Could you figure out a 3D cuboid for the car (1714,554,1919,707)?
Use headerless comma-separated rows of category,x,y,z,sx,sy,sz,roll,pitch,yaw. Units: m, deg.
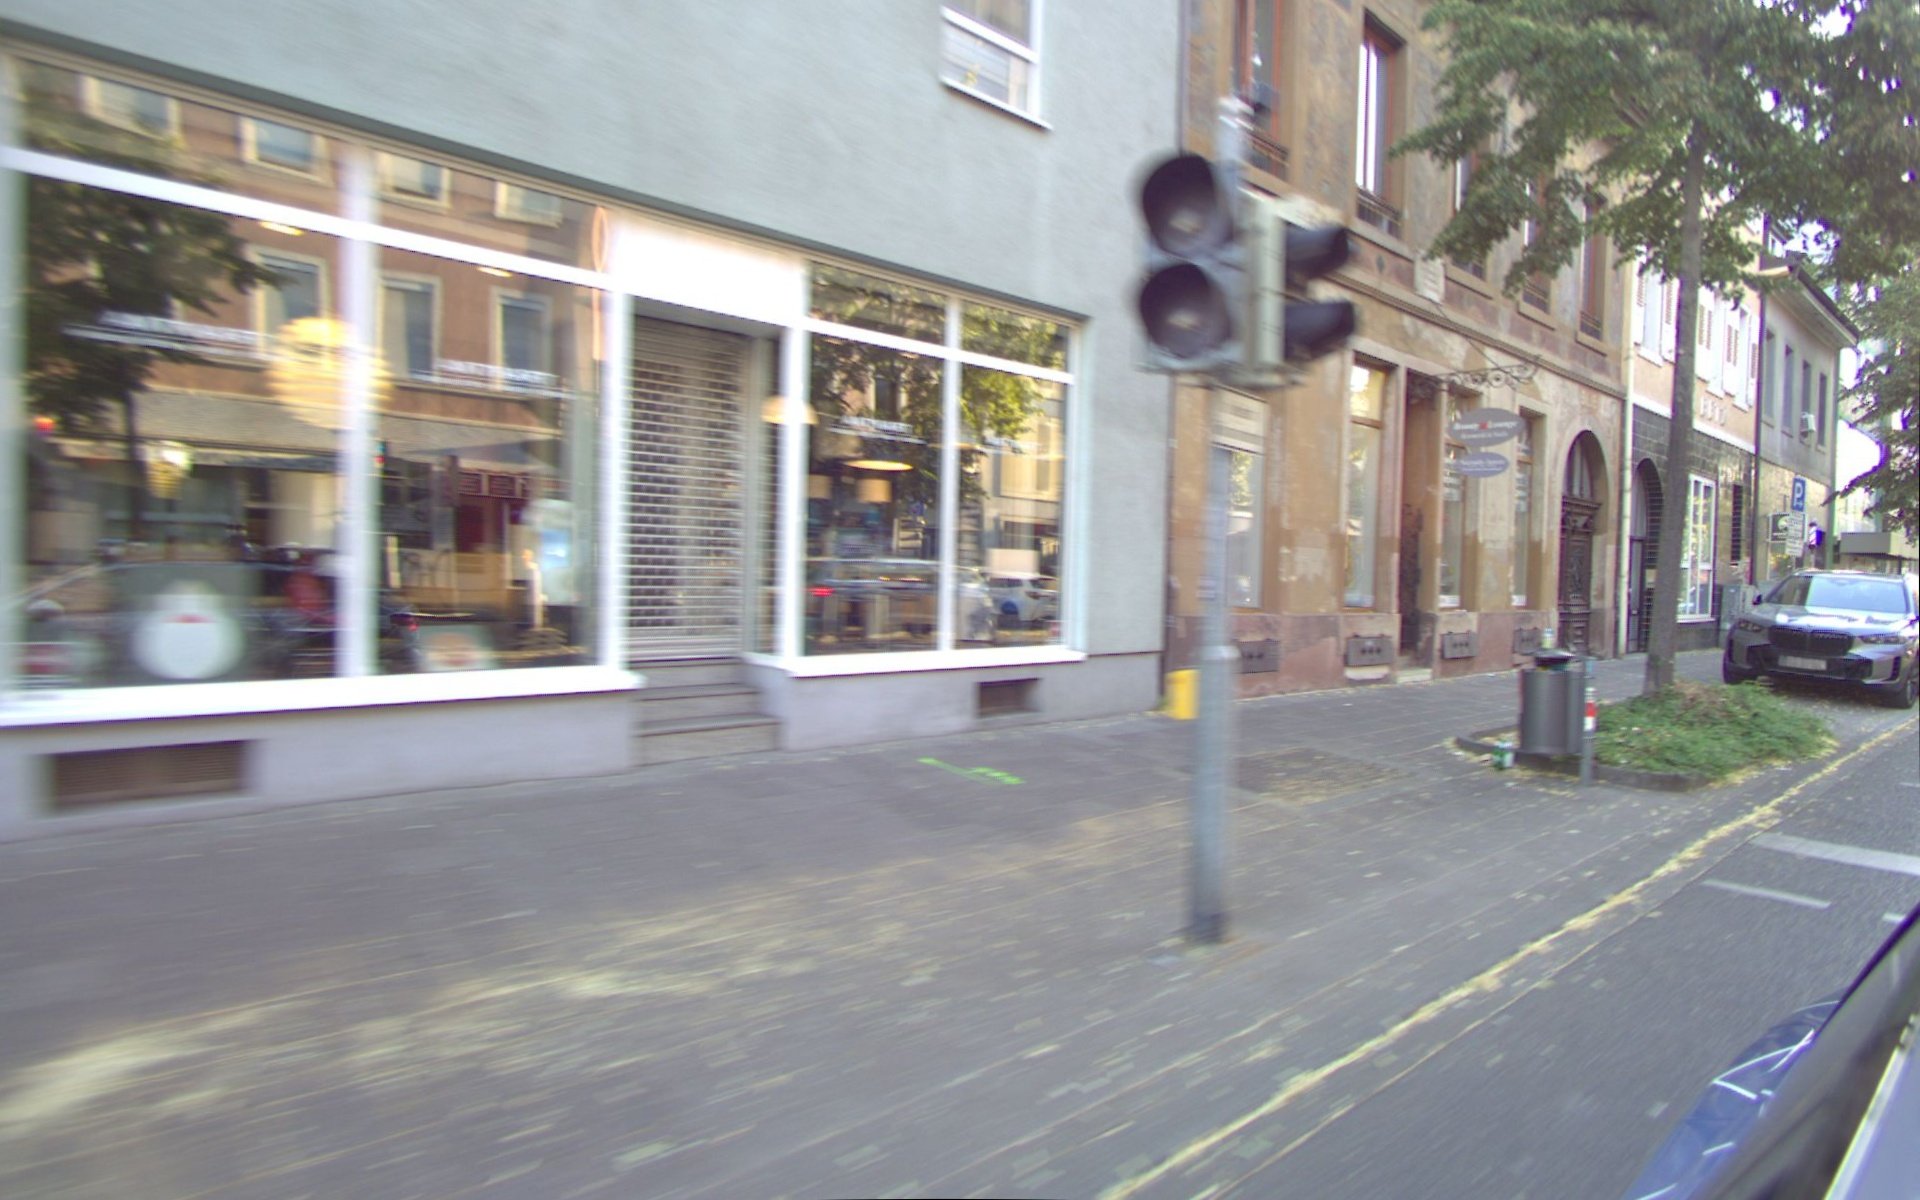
car,12.711,0.338,14.415,4.627,1.758,2.044,0,4,-40

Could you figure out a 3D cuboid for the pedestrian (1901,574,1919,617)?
pedestrian,38.903,-0.183,41.321,0.657,1.760,0.607,0,1,-41

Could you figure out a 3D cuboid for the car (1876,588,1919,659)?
car,21.459,0.519,21.939,4.350,1.407,1.955,0,4,-43

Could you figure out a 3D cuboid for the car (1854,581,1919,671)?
car,17.998,0.478,18.743,3.835,1.505,1.732,0,4,-43
